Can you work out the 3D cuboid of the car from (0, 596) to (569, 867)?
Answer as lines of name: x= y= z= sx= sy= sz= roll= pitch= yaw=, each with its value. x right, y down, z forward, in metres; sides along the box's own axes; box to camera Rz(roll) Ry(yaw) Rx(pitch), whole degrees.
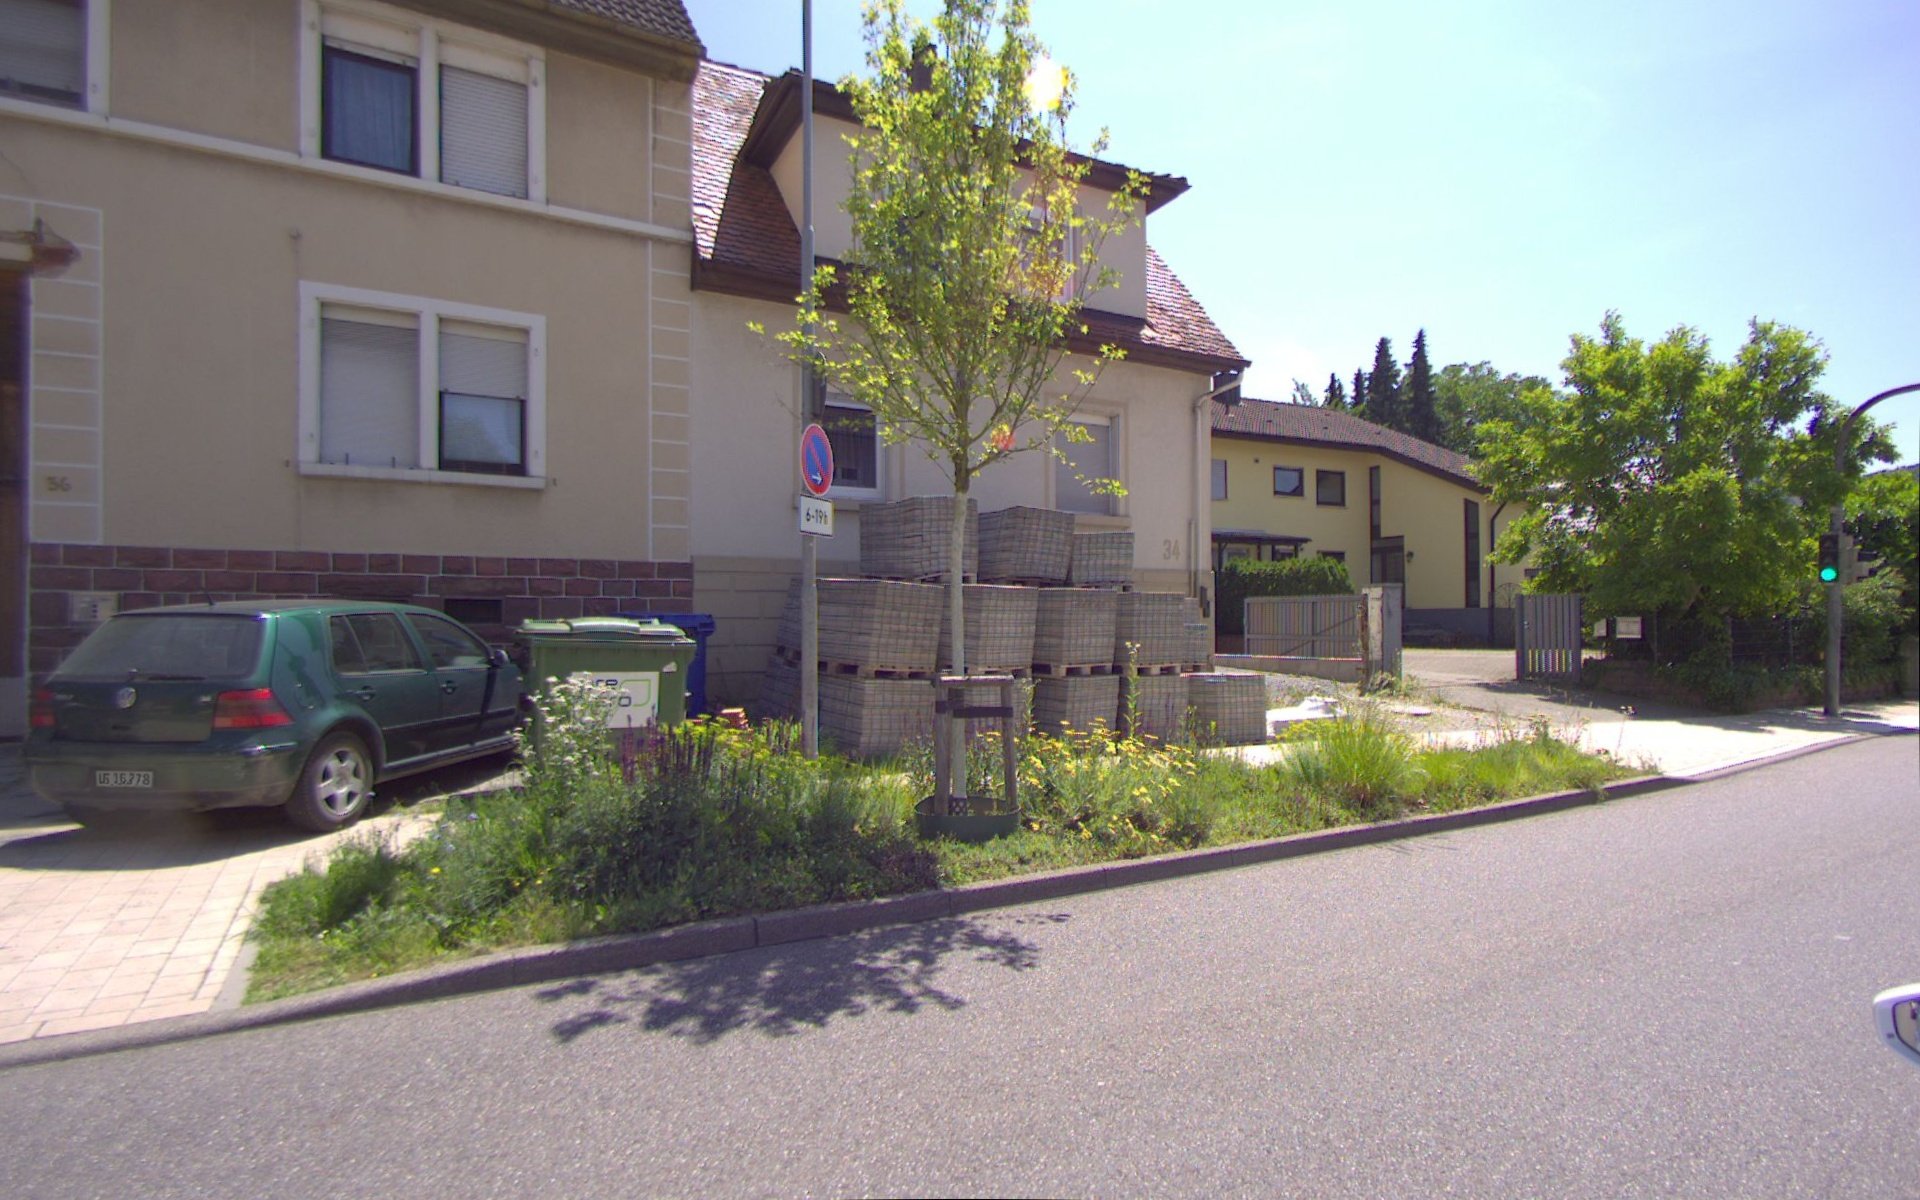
car: x=-4.534 y=0.762 z=7.335 sx=1.664 sy=1.458 sz=3.554 roll=1 pitch=-1 yaw=6

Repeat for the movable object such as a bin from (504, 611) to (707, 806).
movable object such as a bin: x=-2.778 y=0.775 z=7.837 sx=1.385 sy=1.337 sz=0.986 roll=-1 pitch=1 yaw=-26

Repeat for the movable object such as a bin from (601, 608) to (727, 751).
movable object such as a bin: x=-2.944 y=0.735 z=9.944 sx=0.879 sy=1.285 sz=1.230 roll=-1 pitch=1 yaw=-33
